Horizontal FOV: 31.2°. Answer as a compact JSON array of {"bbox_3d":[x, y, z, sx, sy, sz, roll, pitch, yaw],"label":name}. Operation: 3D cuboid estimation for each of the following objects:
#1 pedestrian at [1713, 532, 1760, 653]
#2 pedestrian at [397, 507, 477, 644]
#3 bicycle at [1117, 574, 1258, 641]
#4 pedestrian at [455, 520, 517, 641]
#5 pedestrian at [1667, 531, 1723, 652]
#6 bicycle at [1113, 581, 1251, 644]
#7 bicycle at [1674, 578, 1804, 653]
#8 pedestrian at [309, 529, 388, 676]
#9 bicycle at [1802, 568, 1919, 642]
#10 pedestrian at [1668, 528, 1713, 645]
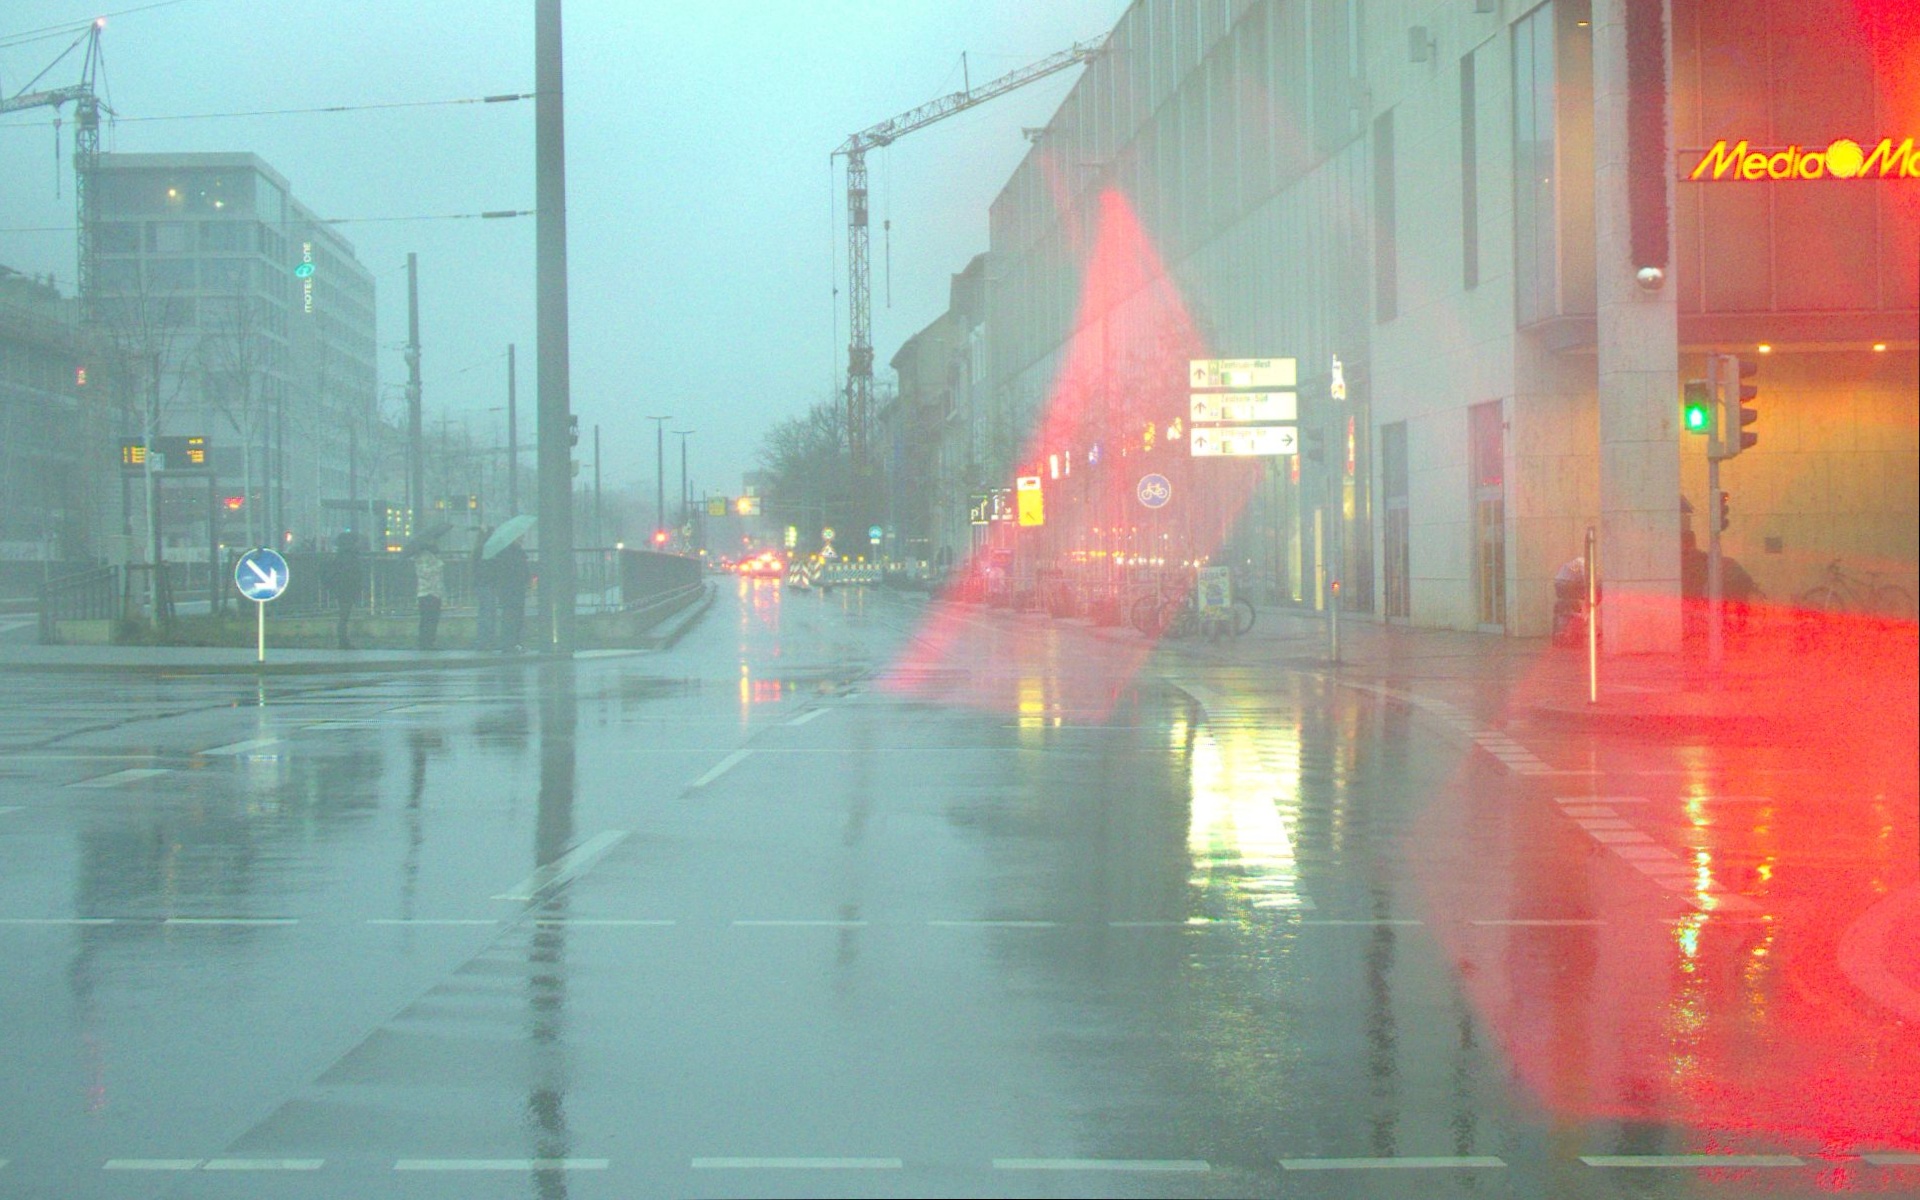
[{"bbox_3d":[11.313,-0.107,50.077,0.600,1.739,0.524,1,0,8],"label":"pedestrian"},{"bbox_3d":[-7.086,-0.331,46.549,0.821,1.825,0.786,1,0,-31],"label":"pedestrian"},{"bbox_3d":[4.069,0.122,61.533,2.442,1.150,0.674,-1,0,-1],"label":"bicycle"},{"bbox_3d":[-6.611,-0.273,47.960,0.612,1.680,0.577,1,1,42],"label":"pedestrian"},{"bbox_3d":[10.501,-0.127,49.125,0.636,1.703,0.573,-1,0,-1],"label":"pedestrian"},{"bbox_3d":[4.013,0.229,62.303,2.425,1.095,0.712,-1,0,-2],"label":"bicycle"},{"bbox_3d":[11.476,0.225,50.655,1.767,1.066,0.525,1,0,-4],"label":"bicycle"},{"bbox_3d":[-8.426,0.028,47.388,0.785,2.007,0.726,1,1,42],"label":"pedestrian"},{"bbox_3d":[13.341,0.071,50.823,1.646,1.066,0.525,1,0,-4],"label":"bicycle"},{"bbox_3d":[10.428,-0.190,49.080,0.485,1.657,0.457,-1,0,30],"label":"pedestrian"}]
